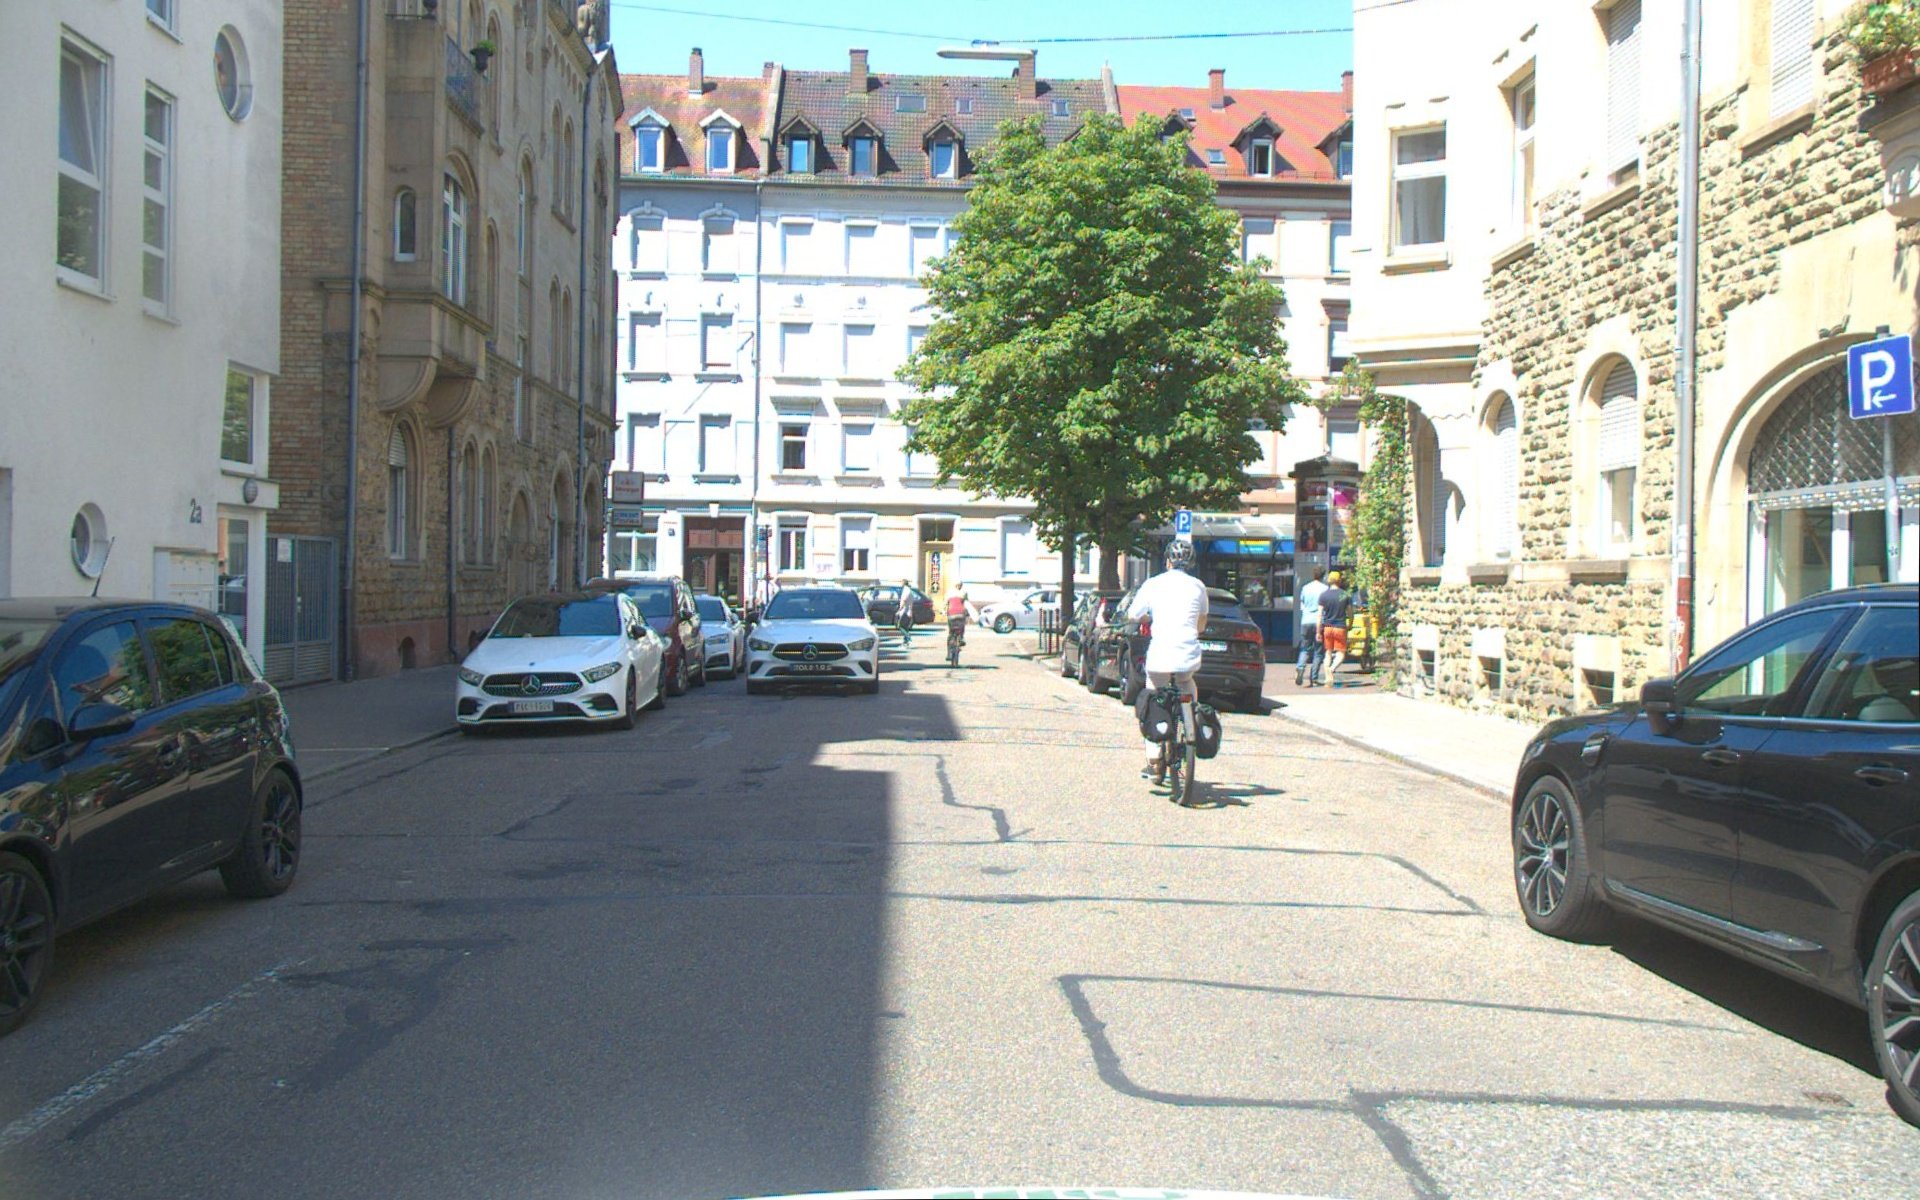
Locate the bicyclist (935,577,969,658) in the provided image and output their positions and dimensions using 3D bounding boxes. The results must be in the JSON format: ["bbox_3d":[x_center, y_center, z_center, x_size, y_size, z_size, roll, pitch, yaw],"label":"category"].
[{"bbox_3d":[-0.167,0.340,32.337,0.657,1.560,0.609,0,0,-1],"label":"bicyclist"}]

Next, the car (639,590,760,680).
[{"bbox_3d":[-4.431,0.550,28.672,1.668,1.376,4.511,-2,0,-4],"label":"car"}]

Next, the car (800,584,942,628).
[{"bbox_3d":[-3.009,0.181,56.524,4.762,1.462,1.999,0,0,-2],"label":"car"}]

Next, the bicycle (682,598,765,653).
[{"bbox_3d":[-4.967,0.530,34.773,1.672,1.063,0.413,3,0,-6],"label":"bicycle"}]

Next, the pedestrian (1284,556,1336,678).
[{"bbox_3d":[5.538,0.268,26.163,0.640,1.901,0.519,1,0,-12],"label":"pedestrian"}]

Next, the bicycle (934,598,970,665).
[{"bbox_3d":[-0.173,0.595,32.420,0.638,1.230,2.441,2,0,-1],"label":"bicycle"}]

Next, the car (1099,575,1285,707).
[{"bbox_3d":[3.146,0.508,23.298,1.701,1.624,4.345,2,0,-4],"label":"car"}]

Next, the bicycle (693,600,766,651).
[{"bbox_3d":[-4.909,0.541,35.261,1.495,1.025,0.366,3,0,-6],"label":"bicycle"}]

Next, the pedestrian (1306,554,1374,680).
[{"bbox_3d":[5.852,0.267,25.483,0.863,1.913,0.600,1,0,-8],"label":"pedestrian"}]

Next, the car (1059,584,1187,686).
[{"bbox_3d":[2.757,0.548,28.712,1.629,1.567,4.176,2,0,-2],"label":"car"}]

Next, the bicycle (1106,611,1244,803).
[{"bbox_3d":[1.569,0.736,12.439,0.638,1.250,2.441,2,0,-1],"label":"bicycle"}]

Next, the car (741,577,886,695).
[{"bbox_3d":[-2.010,0.453,23.786,1.804,1.486,4.360,-2,0,-2],"label":"car"}]

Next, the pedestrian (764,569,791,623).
[{"bbox_3d":[-6.261,-0.143,56.701,0.884,1.846,0.959,0,0,-7],"label":"pedestrian"}]

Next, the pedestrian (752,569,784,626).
[{"bbox_3d":[-6.470,-0.082,55.713,0.832,1.922,0.936,0,0,8],"label":"pedestrian"}]

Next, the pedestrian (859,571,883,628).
[{"bbox_3d":[-2.974,-0.012,55.222,0.712,1.886,0.683,0,0,-12],"label":"pedestrian"}]

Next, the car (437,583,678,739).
[{"bbox_3d":[-4.331,0.587,18.453,1.741,1.485,4.277,-2,0,-2],"label":"car"}]

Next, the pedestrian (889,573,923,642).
[{"bbox_3d":[-1.342,0.188,41.116,0.840,1.701,0.774,0,0,-2],"label":"pedestrian"}]

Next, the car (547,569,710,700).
[{"bbox_3d":[-4.527,0.432,23.100,1.639,1.610,4.050,-2,0,-4],"label":"car"}]

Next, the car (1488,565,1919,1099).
[{"bbox_3d":[3.728,0.721,6.174,1.796,1.594,4.602,2,0,-3],"label":"car"}]

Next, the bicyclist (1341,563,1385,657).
[{"bbox_3d":[7.303,0.181,29.941,0.664,1.676,0.661,0,0,24],"label":"bicyclist"}]

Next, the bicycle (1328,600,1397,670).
[{"bbox_3d":[7.321,0.607,29.995,0.778,1.189,2.577,0,0,24],"label":"bicycle"}]

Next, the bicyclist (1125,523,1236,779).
[{"bbox_3d":[1.594,0.361,12.055,0.657,1.791,0.609,2,0,-1],"label":"bicyclist"}]

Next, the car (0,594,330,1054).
[{"bbox_3d":[-4.005,0.761,6.651,1.535,1.517,3.892,-2,0,-2],"label":"car"}]
